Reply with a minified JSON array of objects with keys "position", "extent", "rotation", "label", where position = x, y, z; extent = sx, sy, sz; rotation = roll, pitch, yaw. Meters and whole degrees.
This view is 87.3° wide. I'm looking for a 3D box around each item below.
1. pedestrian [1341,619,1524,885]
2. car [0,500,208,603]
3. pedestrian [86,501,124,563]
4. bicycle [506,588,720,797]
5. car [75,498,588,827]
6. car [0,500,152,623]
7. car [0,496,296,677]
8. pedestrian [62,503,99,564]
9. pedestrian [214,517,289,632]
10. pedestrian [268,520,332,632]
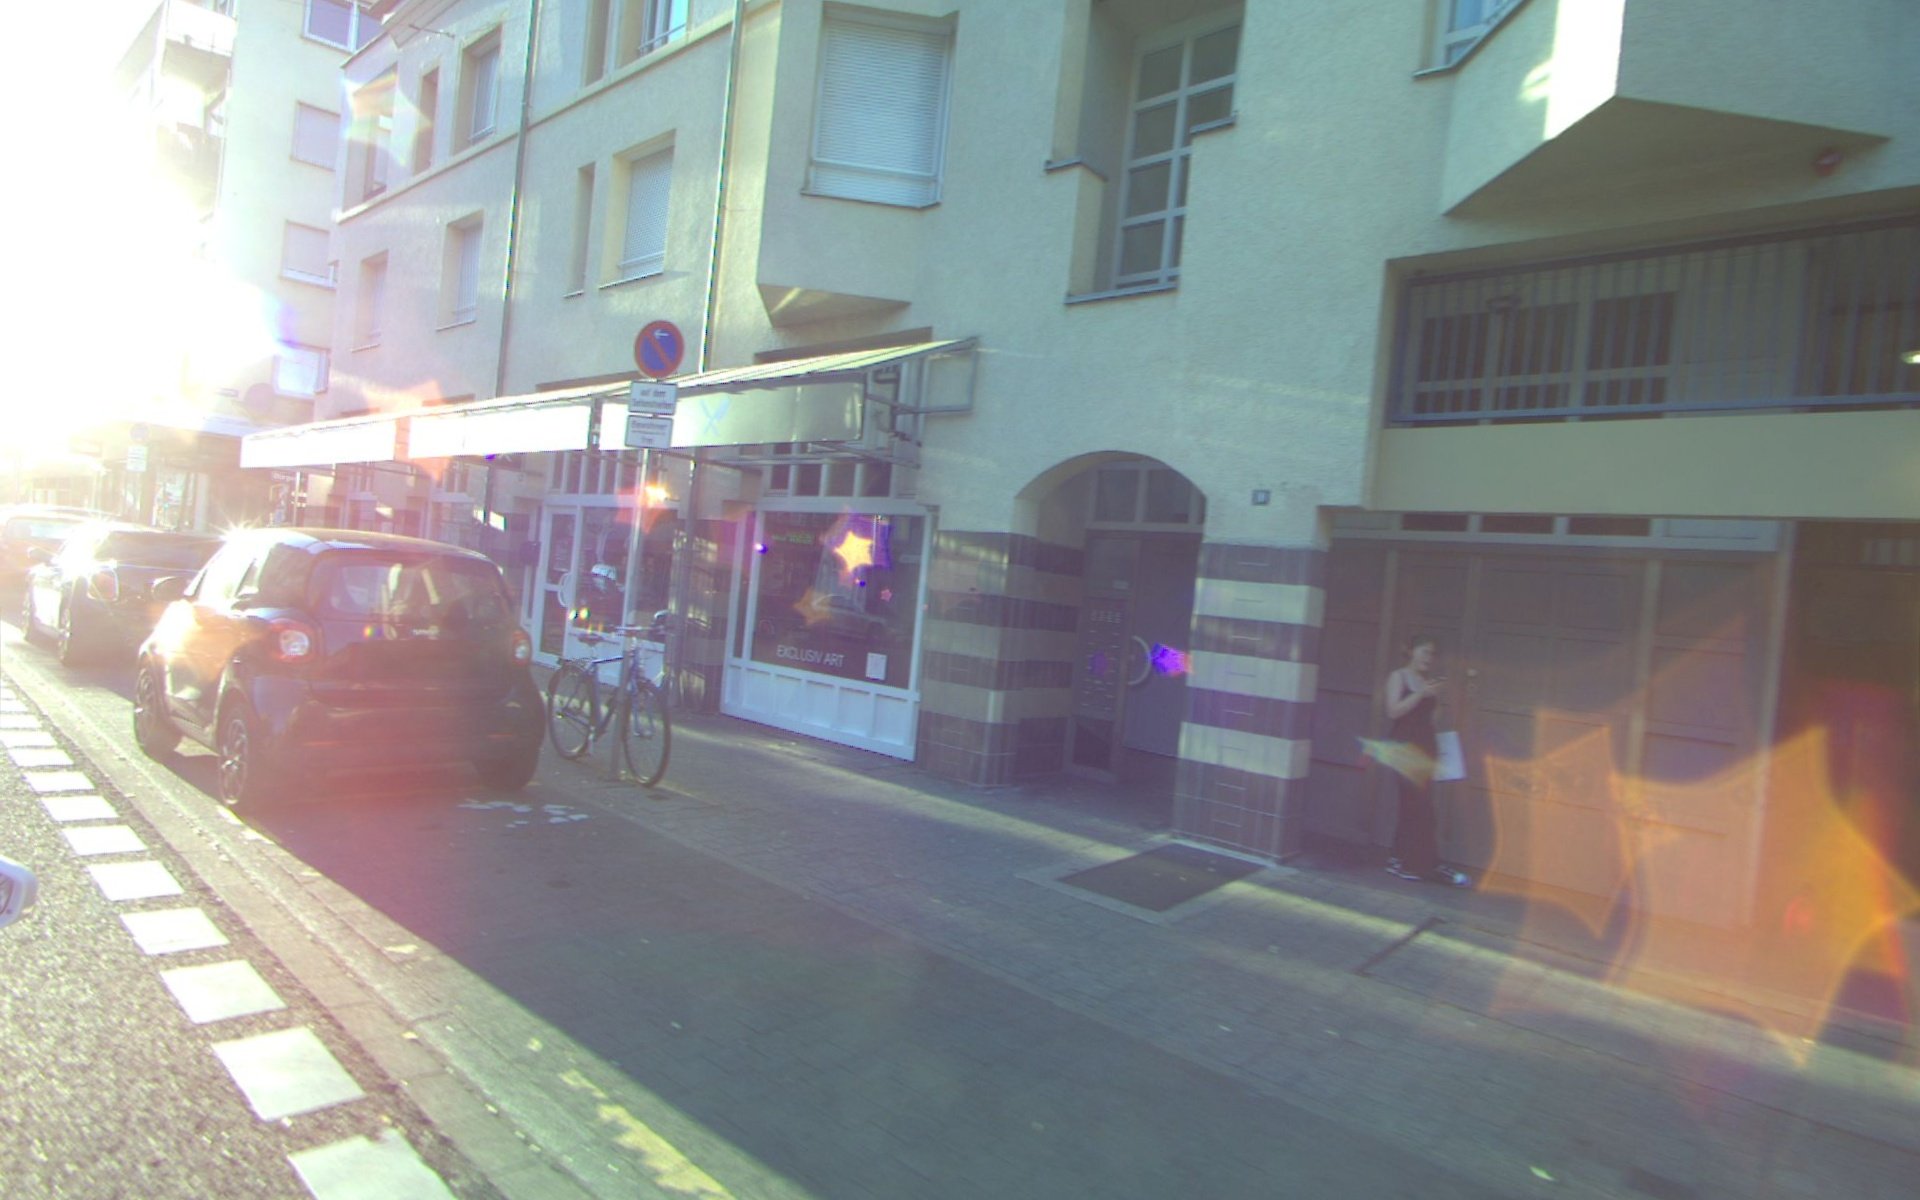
[{"position":[3.024,0.966,6.459],"extent":[0.767,1.592,0.531],"rotation":[6,1,-22],"label":"pedestrian"},{"position":[-18.589,-1.032,20.911],"extent":[1.844,1.717,4.325],"rotation":[7,-2,18],"label":"car"},{"position":[-26.275,-2.080,30.930],"extent":[0.657,1.814,0.716],"rotation":[6,2,42],"label":"pedestrian"},{"position":[-2.576,0.608,7.317],"extent":[1.951,1.221,0.557],"rotation":[6,1,44],"label":"bicycle"},{"position":[-4.510,0.258,6.992],"extent":[3.909,1.600,1.787],"rotation":[6,0,39],"label":"car"},{"position":[-14.208,-0.661,15.622],"extent":[3.732,1.600,1.787],"rotation":[6,0,39],"label":"car"},{"position":[-9.127,-0.190,11.209],"extent":[3.732,1.600,1.787],"rotation":[6,0,39],"label":"car"},{"position":[-27.689,-2.093,31.672],"extent":[0.657,1.814,0.716],"rotation":[6,2,42],"label":"pedestrian"},{"position":[-11.193,-0.409,15.888],"extent":[1.026,1.722,0.629],"rotation":[6,1,41],"label":"pedestrian"},{"position":[-10.707,-0.389,16.308],"extent":[0.820,1.722,0.558],"rotation":[6,1,41],"label":"pedestrian"}]
